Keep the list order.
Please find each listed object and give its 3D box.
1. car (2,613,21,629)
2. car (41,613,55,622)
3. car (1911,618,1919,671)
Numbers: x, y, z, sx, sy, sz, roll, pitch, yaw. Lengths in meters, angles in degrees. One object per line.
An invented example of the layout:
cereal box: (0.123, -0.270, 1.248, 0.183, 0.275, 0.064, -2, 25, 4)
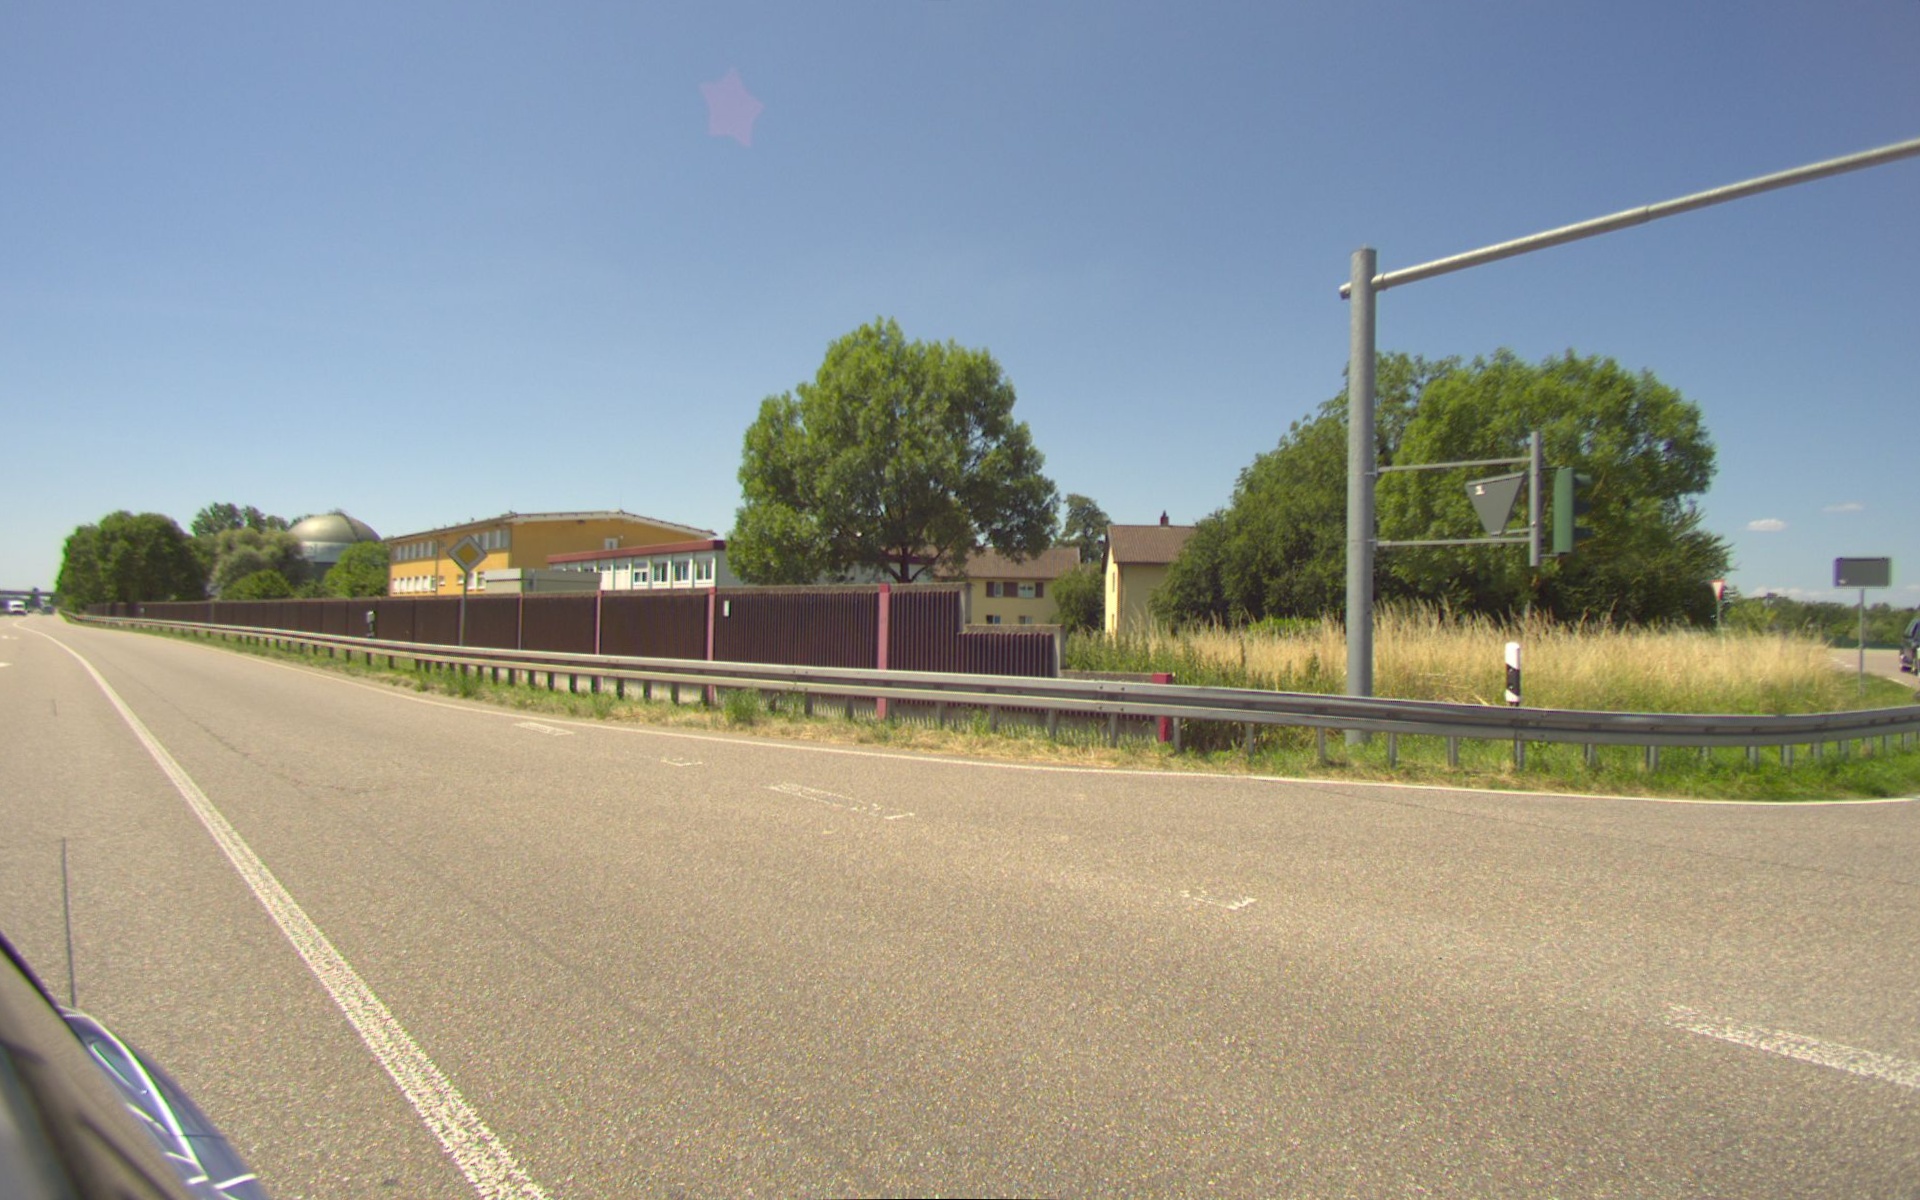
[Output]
car: (-160.336, 3.563, 171.091, 2.173, 2.579, 5.229, 1, -1, -43)
car: (-168.577, 3.247, 187.083, 1.865, 1.753, 4.781, 1, -1, -43)
car: (30.523, 1.372, 30.942, 1.769, 1.637, 4.178, -2, -2, 39)
